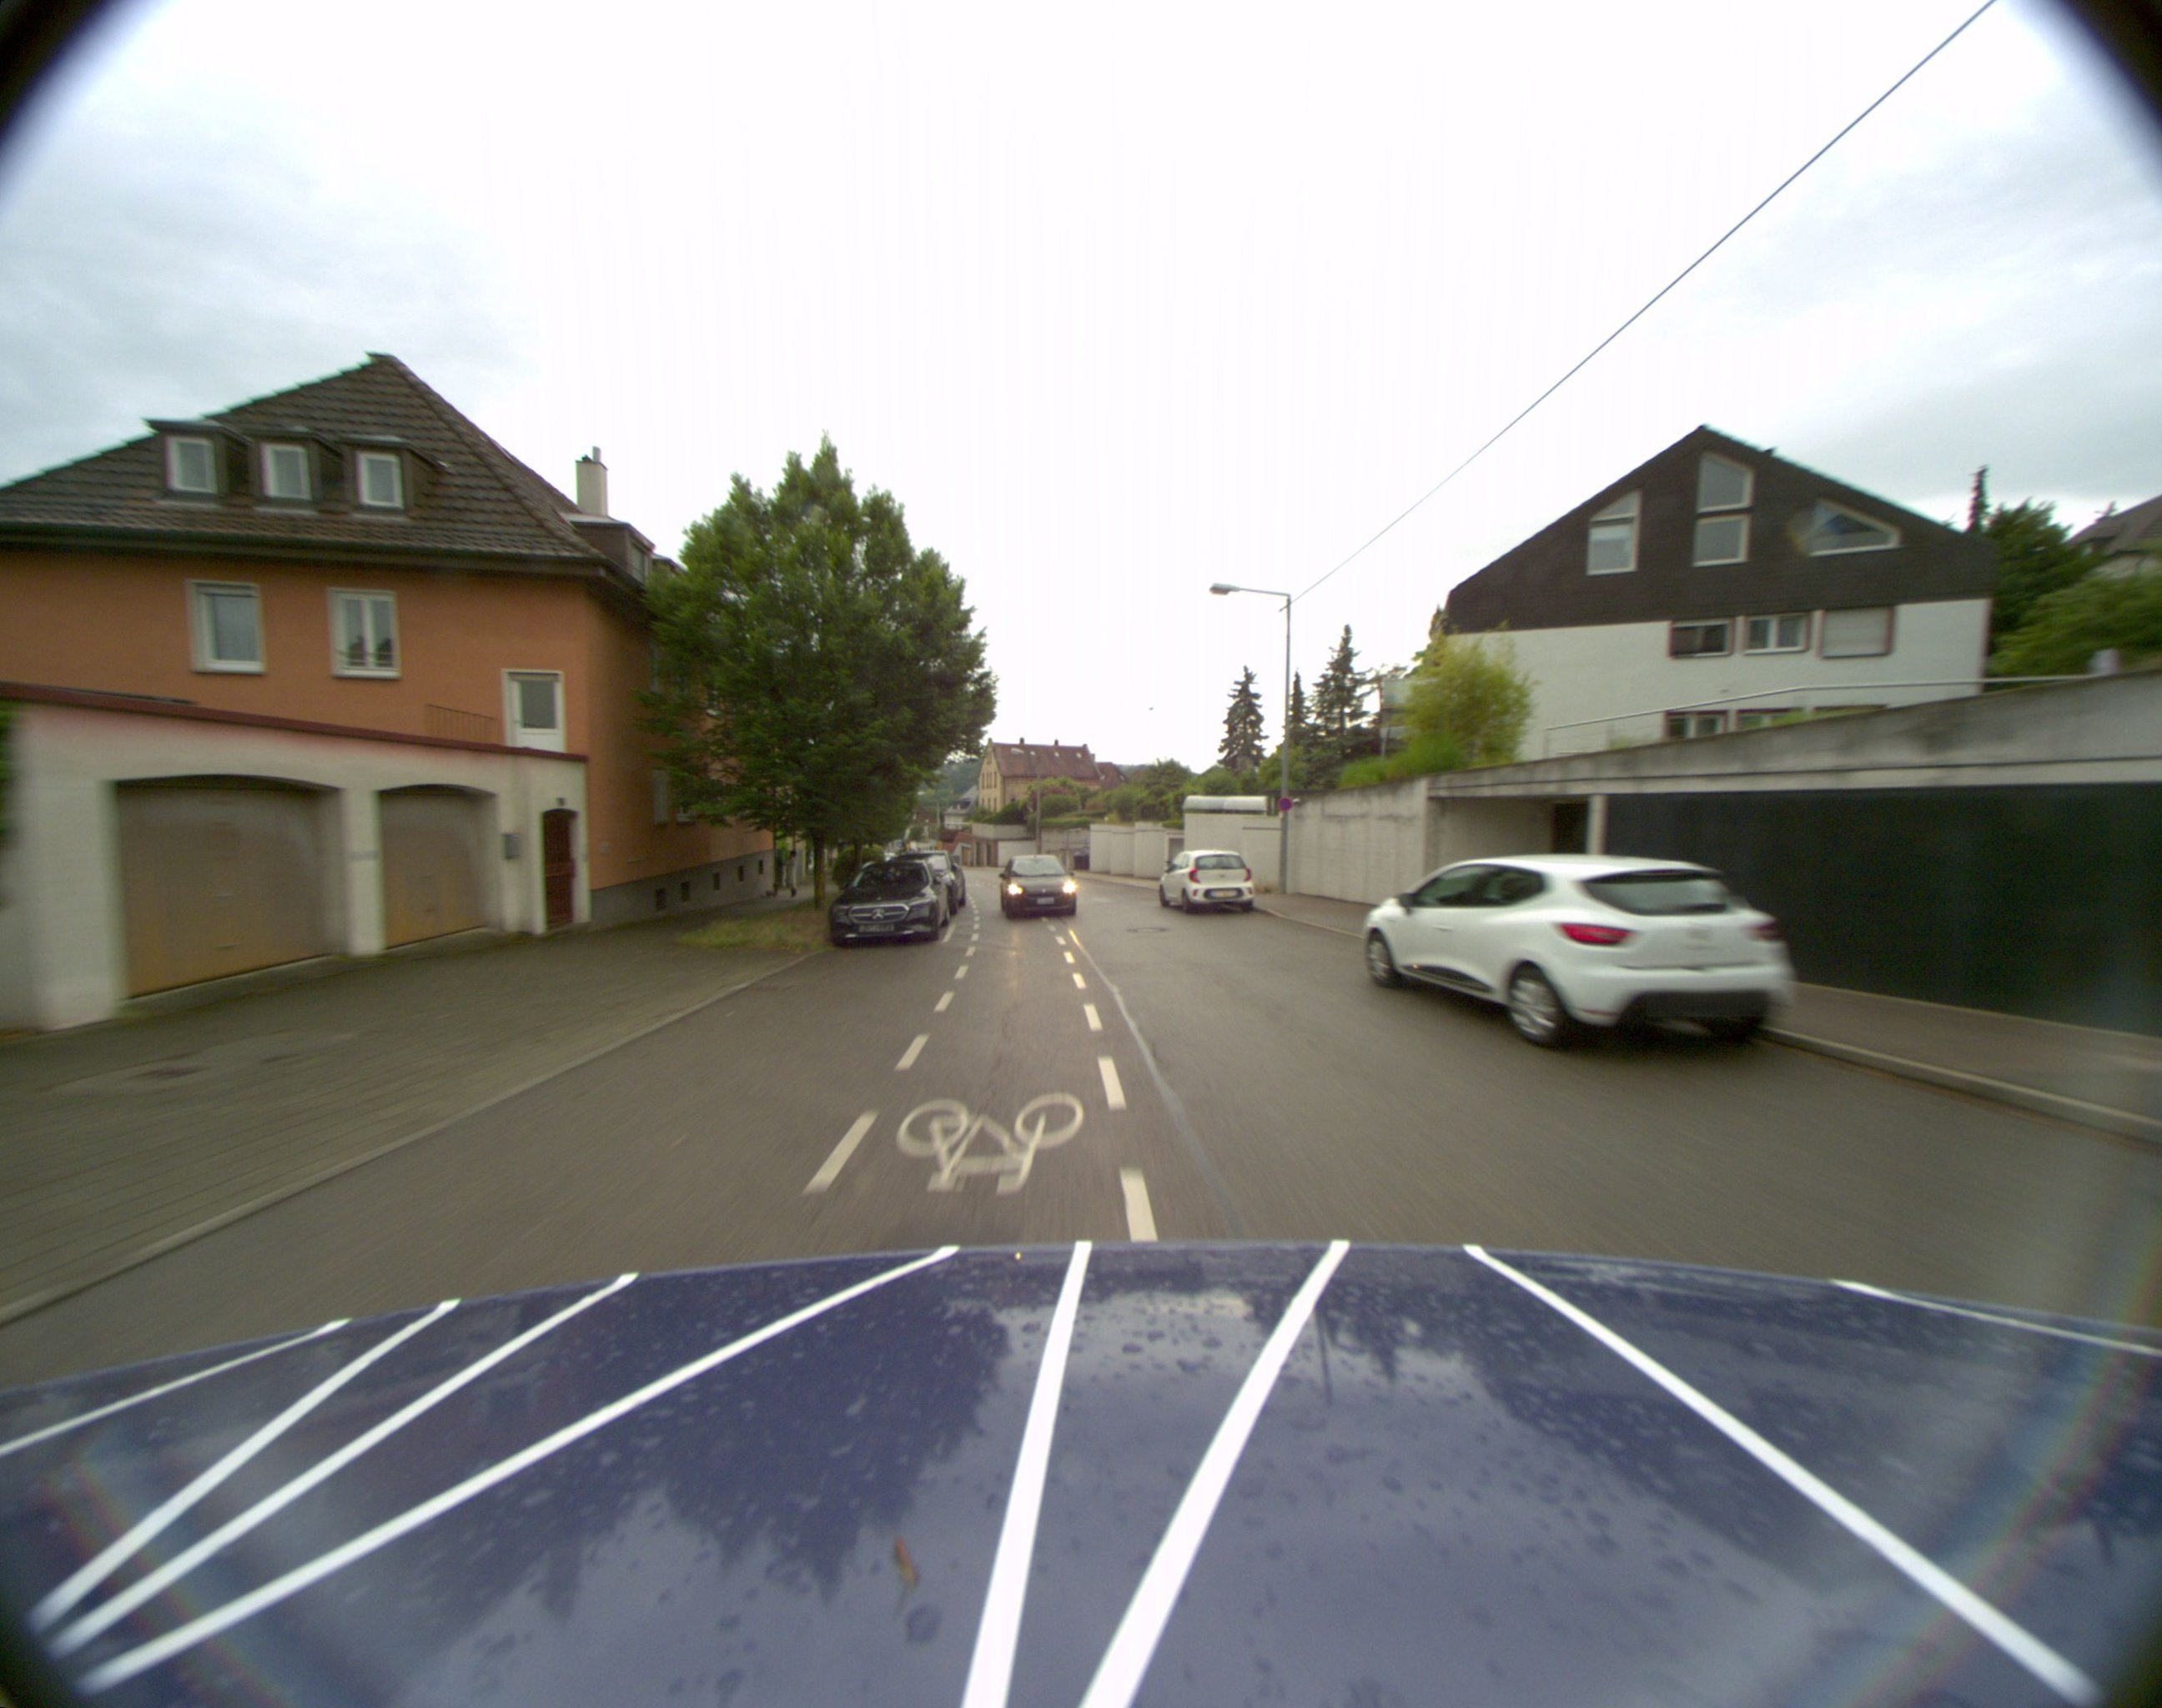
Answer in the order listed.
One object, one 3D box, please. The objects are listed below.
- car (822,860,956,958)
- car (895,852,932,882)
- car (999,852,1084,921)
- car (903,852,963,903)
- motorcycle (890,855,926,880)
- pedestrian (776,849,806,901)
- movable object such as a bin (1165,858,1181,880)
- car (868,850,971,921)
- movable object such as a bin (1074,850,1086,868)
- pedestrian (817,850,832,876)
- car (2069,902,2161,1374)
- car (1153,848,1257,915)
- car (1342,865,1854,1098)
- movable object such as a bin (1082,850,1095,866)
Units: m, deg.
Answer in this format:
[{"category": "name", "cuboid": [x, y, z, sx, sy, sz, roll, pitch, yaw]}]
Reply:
[{"category": "car", "cuboid": [-3.620, 0.934, 15.232, 1.867, 1.461, 5.052, -3, 1, -7]}, {"category": "car", "cuboid": [-9.334, 0.683, 42.136, 1.663, 1.481, 3.994, -3, 1, -16]}, {"category": "car", "cuboid": [-1.054, 0.724, 19.326, 1.893, 1.521, 4.055, -1, 0, -5]}, {"category": "car", "cuboid": [-5.233, 0.751, 26.782, 1.861, 1.572, 4.852, -1, 1, -12]}, {"category": "motorcycle", "cuboid": [-10.188, 0.785, 44.823, 1.921, 1.322, 0.786, -3, 1, -22]}, {"category": "pedestrian", "cuboid": [-9.757, 0.708, 25.562, 0.763, 1.710, 0.901, 2, 0, -12]}, {"category": "movable object such as a bin", "cuboid": [4.103, 0.677, 33.840, 0.543, 0.957, 0.647, -1, 1, 19]}, {"category": "car", "cuboid": [-4.282, 0.747, 21.007, 2.060, 1.646, 5.233, -1, 1, -4]}, {"category": "movable object such as a bin", "cuboid": [-0.050, 0.312, 48.903, 0.527, 1.140, 0.602, -1, 3, 24]}, {"category": "pedestrian", "cuboid": [-16.598, 0.570, 49.116, 0.836, 1.676, 1.043, 2, 0, -19]}, {"category": "car", "cuboid": [4.227, 0.901, 0.240, 1.717, 1.451, 4.681, -1, 1, 0]}, {"category": "car", "cuboid": [3.028, 0.626, 19.262, 1.632, 1.507, 3.830, 0, 0, -6]}, {"category": "car", "cuboid": [4.124, 0.864, 7.036, 1.837, 1.431, 4.038, 0, 1, -3]}, {"category": "movable object such as a bin", "cuboid": [0.472, 0.267, 48.658, 0.608, 0.986, 0.602, -2, 1, 24]}]
